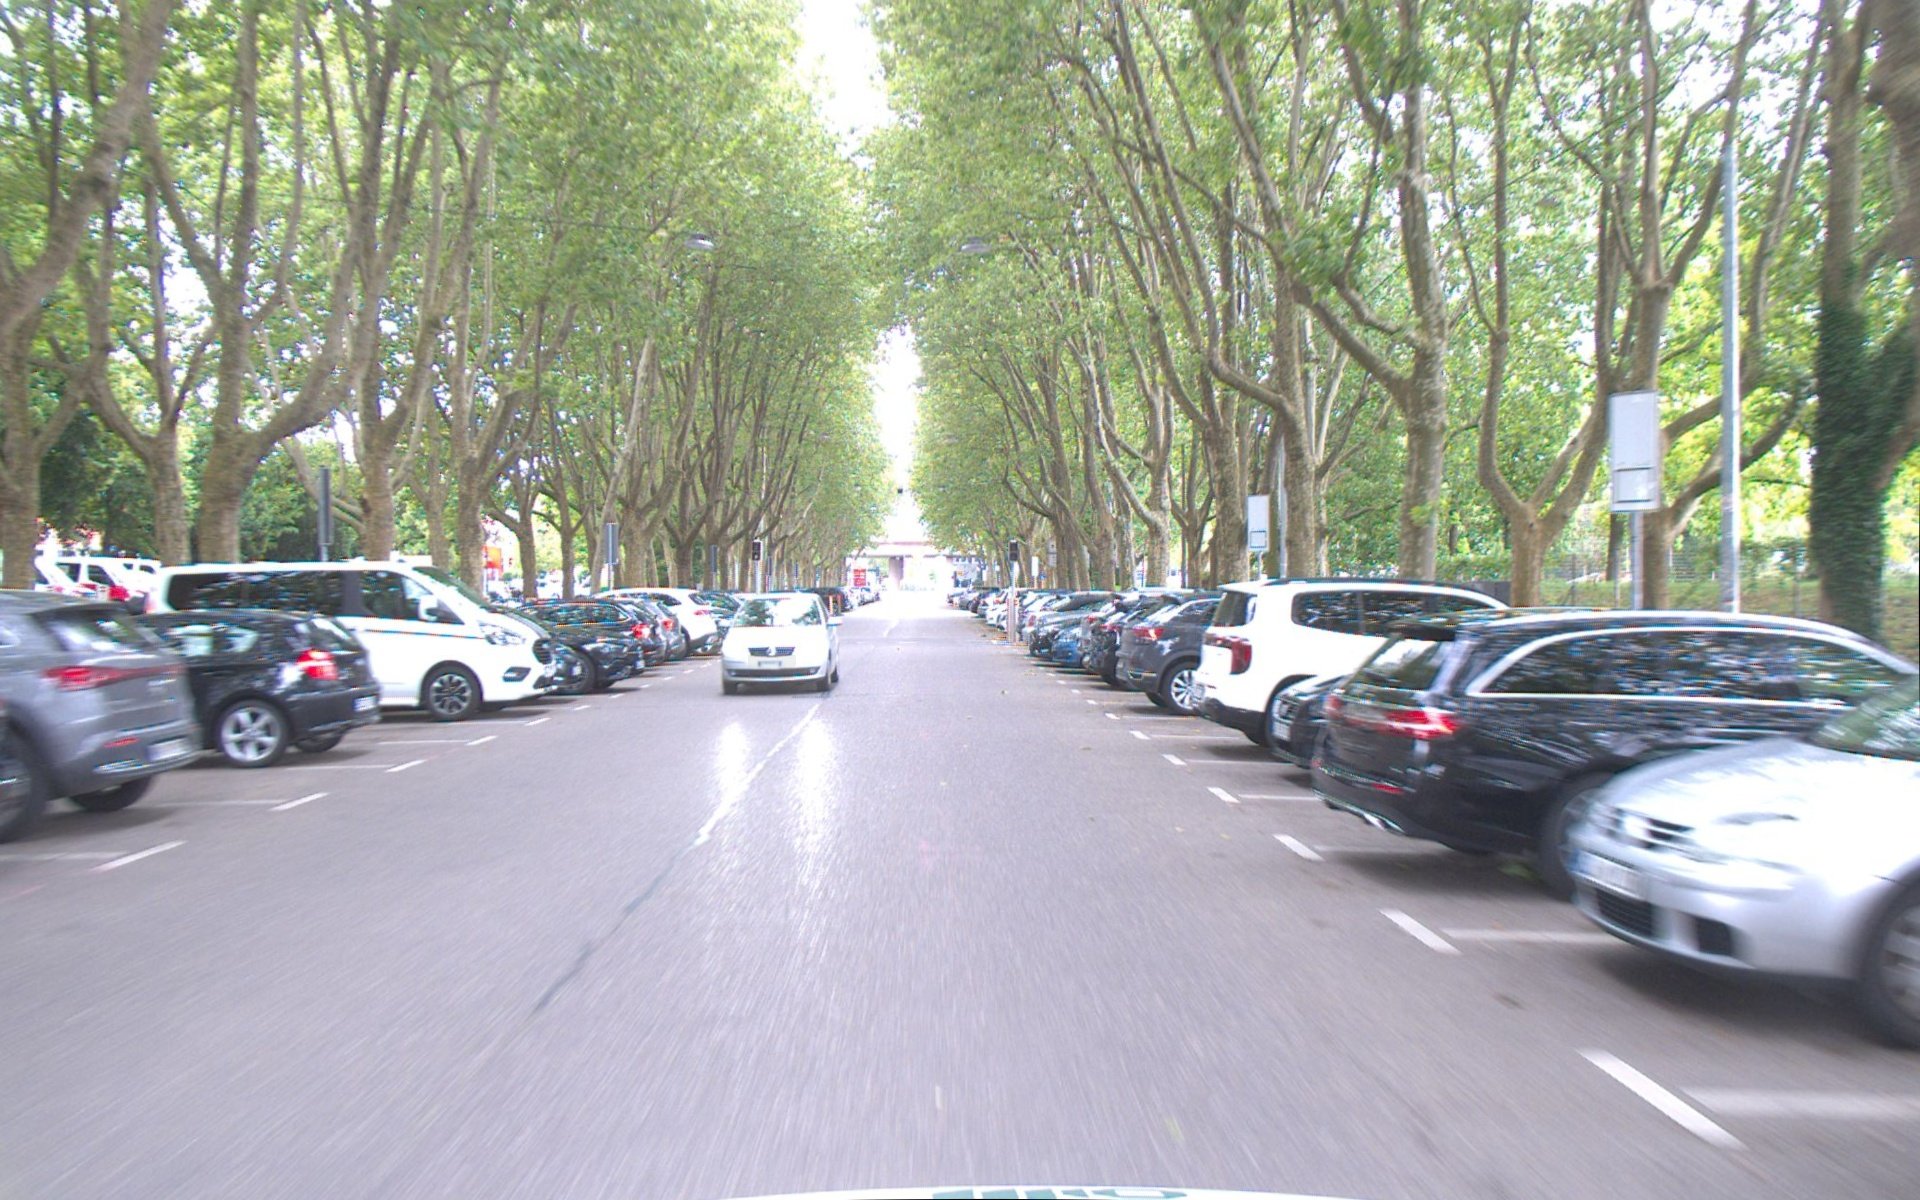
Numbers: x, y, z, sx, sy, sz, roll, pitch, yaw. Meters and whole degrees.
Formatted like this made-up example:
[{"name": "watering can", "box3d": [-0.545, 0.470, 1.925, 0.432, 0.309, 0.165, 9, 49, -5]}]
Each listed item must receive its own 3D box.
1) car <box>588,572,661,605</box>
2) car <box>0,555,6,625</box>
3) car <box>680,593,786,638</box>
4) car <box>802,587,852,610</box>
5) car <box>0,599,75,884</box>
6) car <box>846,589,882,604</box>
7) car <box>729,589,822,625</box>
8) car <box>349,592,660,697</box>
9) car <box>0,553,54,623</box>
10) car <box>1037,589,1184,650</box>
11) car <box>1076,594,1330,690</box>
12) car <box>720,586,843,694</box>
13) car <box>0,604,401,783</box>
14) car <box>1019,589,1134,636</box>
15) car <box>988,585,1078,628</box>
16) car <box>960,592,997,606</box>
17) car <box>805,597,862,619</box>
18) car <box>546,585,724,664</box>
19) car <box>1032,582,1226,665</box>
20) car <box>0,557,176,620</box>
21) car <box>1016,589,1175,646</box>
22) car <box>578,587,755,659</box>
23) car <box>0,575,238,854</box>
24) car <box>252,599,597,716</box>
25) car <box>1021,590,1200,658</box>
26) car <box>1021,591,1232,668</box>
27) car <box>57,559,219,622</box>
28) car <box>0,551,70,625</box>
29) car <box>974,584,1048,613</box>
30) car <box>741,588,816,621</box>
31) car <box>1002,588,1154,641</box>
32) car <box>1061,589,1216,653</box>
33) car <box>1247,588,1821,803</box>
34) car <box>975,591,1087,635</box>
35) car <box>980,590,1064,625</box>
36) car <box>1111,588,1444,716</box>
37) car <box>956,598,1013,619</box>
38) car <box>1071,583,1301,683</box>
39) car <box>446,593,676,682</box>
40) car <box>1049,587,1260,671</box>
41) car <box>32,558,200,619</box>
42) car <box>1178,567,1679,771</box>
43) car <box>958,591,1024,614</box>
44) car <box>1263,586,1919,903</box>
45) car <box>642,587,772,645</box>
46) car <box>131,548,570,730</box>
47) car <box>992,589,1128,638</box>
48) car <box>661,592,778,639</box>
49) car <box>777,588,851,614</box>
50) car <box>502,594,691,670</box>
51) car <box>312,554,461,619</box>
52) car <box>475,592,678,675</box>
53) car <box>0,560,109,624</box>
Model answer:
[{"name": "car", "box3d": [-24.468, -0.830, 120.688, 4.976, 2.271, 1.535, 1, 0, -3]}, {"name": "car", "box3d": [-34.541, -0.384, 53.702, 5.880, 2.292, 1.999, 1, 0, -2]}, {"name": "car", "box3d": [-8.321, 0.563, 60.864, 3.752, 1.523, 1.693, -2, 0, -4]}, {"name": "car", "box3d": [-10.625, -0.118, 132.494, 3.734, 1.630, 1.787, -2, 0, 4]}, {"name": "car", "box3d": [-7.042, 0.838, 8.500, 3.908, 1.501, 1.842, -2, 1, -4]}, {"name": "car", "box3d": [-10.291, -0.376, 177.942, 3.734, 1.542, 1.686, 1, 0, 2]}, {"name": "car", "box3d": [-8.112, 0.280, 72.951, 3.942, 1.454, 1.693, -2, 0, -4]}, {"name": "car", "box3d": [-7.117, 0.681, 26.111, 4.355, 1.478, 1.775, -2, 0, 3]}, {"name": "car", "box3d": [-34.434, -0.465, 56.406, 5.880, 2.358, 1.999, 1, 0, -2]}, {"name": "car", "box3d": [3.953, 0.505, 43.804, 3.699, 1.495, 1.666, 1, 0, -2]}, {"name": "car", "box3d": [3.831, 0.645, 26.431, 3.750, 1.413, 1.693, 1, 0, -3]}, {"name": "car", "box3d": [-2.716, 0.561, 25.815, 1.655, 1.497, 3.837, -1, 1, -3]}, {"name": "car", "box3d": [-7.534, 0.853, 15.597, 3.908, 1.437, 1.682, -2, 1, -4]}, {"name": "car", "box3d": [3.956, 0.425, 56.532, 3.702, 1.495, 1.622, 1, 0, -5]}, {"name": "car", "box3d": [3.041, 0.251, 68.937, 3.574, 1.696, 1.518, 1, 0, -5]}, {"name": "car", "box3d": [2.199, -0.095, 197.497, 4.287, 1.549, 1.731, 1, 0, -1]}, {"name": "car", "box3d": [-8.857, 0.558, 115.843, 3.734, 1.377, 1.663, -2, 0, 4]}, {"name": "car", "box3d": [-7.441, 0.543, 38.169, 3.752, 1.656, 1.951, -2, 0, -4]}, {"name": "car", "box3d": [3.667, 0.495, 36.315, 4.030, 1.699, 1.694, 1, 0, -1]}, {"name": "car", "box3d": [-34.836, -0.466, 66.175, 5.880, 2.370, 1.999, 1, 0, -2]}, {"name": "car", "box3d": [3.781, 0.479, 46.645, 4.278, 1.495, 1.623, 1, 0, -2]}, {"name": "car", "box3d": [-7.206, 0.550, 40.884, 3.984, 1.636, 1.799, -2, 0, 1]}, {"name": "car", "box3d": [-7.458, 0.779, 11.135, 4.254, 1.696, 1.999, -2, 0, -3]}, {"name": "car", "box3d": [-7.605, 0.799, 23.813, 4.359, 1.478, 1.773, -2, 0, -2]}, {"name": "car", "box3d": [3.514, 0.542, 39.054, 4.030, 1.495, 1.694, 1, 0, -2]}, {"name": "car", "box3d": [3.382, 0.592, 34.061, 4.127, 1.476, 1.610, 1, 0, -3]}, {"name": "car", "box3d": [-35.180, -0.415, 70.909, 5.880, 2.571, 1.999, 1, 0, -2]}, {"name": "car", "box3d": [-35.273, -0.468, 59.002, 5.880, 2.571, 1.999, 1, 0, -2]}, {"name": "car", "box3d": [2.718, -0.088, 88.775, 3.840, 1.477, 1.555, 1, 0, -3]}, {"name": "car", "box3d": [-9.375, 0.231, 85.814, 3.752, 1.582, 1.693, -2, 0, -4]}, {"name": "car", "box3d": [3.613, 0.435, 51.076, 4.521, 1.495, 1.649, 1, 0, -2]}, {"name": "car", "box3d": [4.430, 0.515, 41.403, 3.698, 1.495, 1.624, 1, 0, 0]}, {"name": "car", "box3d": [4.587, 0.739, 13.571, 4.102, 1.584, 1.699, 1, 0, -3]}, {"name": "car", "box3d": [2.717, 0.492, 63.906, 4.085, 1.624, 1.853, 1, 0, -5]}, {"name": "car", "box3d": [2.757, 0.322, 74.145, 3.574, 1.448, 1.983, 1, 0, -5]}, {"name": "car", "box3d": [4.021, 0.640, 21.334, 3.907, 1.512, 1.693, 1, 0, -3]}, {"name": "car", "box3d": [1.843, 0.644, 123.072, 4.088, 1.467, 1.732, 1, 0, 3]}, {"name": "car", "box3d": [3.924, 0.553, 29.092, 3.750, 1.635, 1.693, 1, 0, -3]}, {"name": "car", "box3d": [-7.371, 0.667, 30.846, 3.917, 1.497, 1.536, -2, 0, -4]}, {"name": "car", "box3d": [3.650, 0.529, 31.479, 3.750, 1.481, 1.693, 1, 0, -3]}, {"name": "car", "box3d": [-34.945, -0.478, 68.587, 5.880, 2.345, 1.999, 1, 0, -2]}, {"name": "car", "box3d": [4.423, 0.633, 16.019, 4.297, 1.786, 1.800, 1, 0, -3]}, {"name": "car", "box3d": [2.179, 0.171, 115.909, 4.478, 1.512, 2.001, 1, 0, 3]}, {"name": "car", "box3d": [4.089, 0.748, 9.256, 4.412, 1.552, 1.702, 1, 0, -3]}, {"name": "car", "box3d": [-7.705, 0.458, 50.605, 3.752, 1.636, 1.693, -2, 0, -4]}, {"name": "car", "box3d": [-7.598, 0.464, 20.992, 4.795, 2.054, 1.919, -2, 0, -2]}, {"name": "car", "box3d": [3.234, 0.434, 53.717, 4.213, 1.495, 1.622, 1, 0, -5]}, {"name": "car", "box3d": [-8.076, 0.517, 55.785, 3.752, 1.454, 1.693, -2, 0, -4]}, {"name": "car", "box3d": [-9.311, 0.056, 105.448, 4.572, 1.452, 1.999, -2, 0, -3]}, {"name": "car", "box3d": [-7.802, 0.663, 35.779, 3.752, 1.497, 1.693, -2, 0, -4]}, {"name": "car", "box3d": [-24.666, -0.597, 71.308, 5.668, 2.642, 2.000, 1, 0, -1]}, {"name": "car", "box3d": [-7.705, 0.655, 33.493, 3.681, 1.500, 1.863, -2, 0, -3]}, {"name": "car", "box3d": [-35.052, -0.341, 61.349, 5.880, 2.279, 1.999, 1, 0, -2]}]
